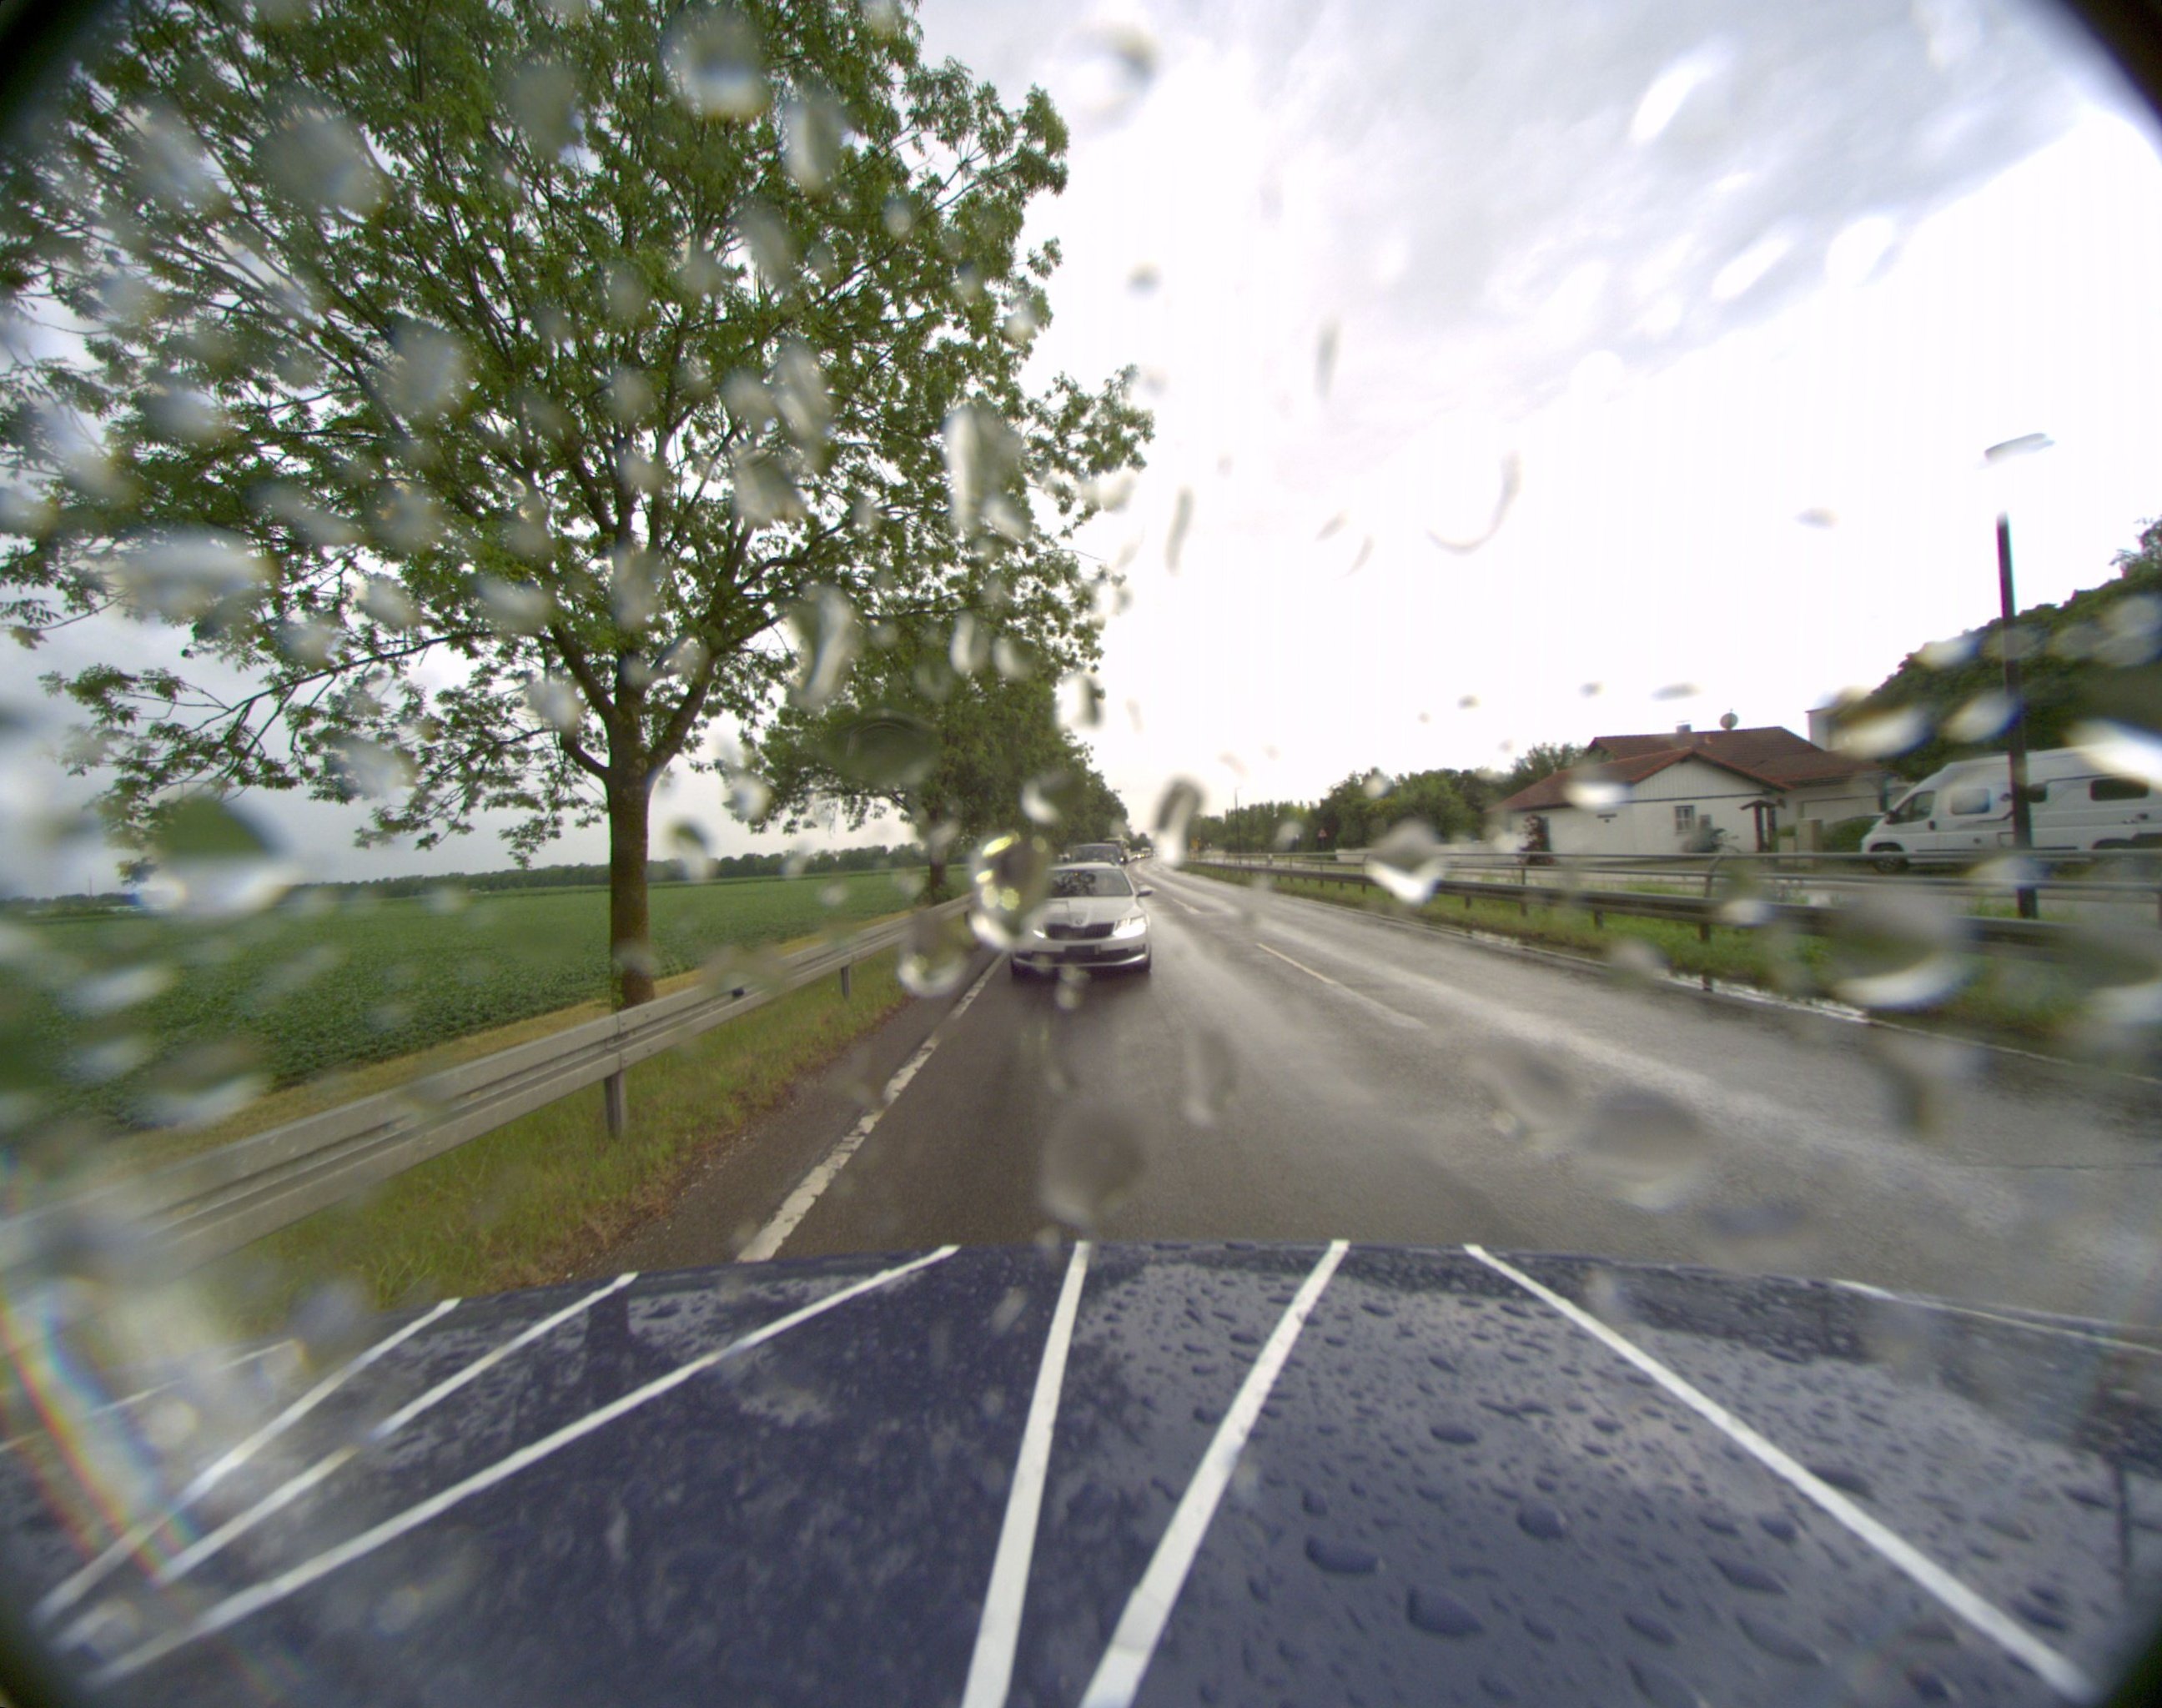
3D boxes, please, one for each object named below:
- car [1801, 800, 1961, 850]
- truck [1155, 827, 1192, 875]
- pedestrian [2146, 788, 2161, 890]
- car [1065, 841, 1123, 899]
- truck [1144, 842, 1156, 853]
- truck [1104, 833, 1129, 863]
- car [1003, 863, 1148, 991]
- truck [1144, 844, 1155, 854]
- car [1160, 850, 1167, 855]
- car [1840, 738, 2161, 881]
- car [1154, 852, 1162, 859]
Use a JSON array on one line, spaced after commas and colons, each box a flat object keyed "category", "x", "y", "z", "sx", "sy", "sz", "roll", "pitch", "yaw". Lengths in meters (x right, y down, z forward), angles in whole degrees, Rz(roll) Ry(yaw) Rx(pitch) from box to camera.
[{"category": "car", "x": 24.347, "y": -0.829, "z": 23.293, "sx": 1.452, "sy": 1.348, "sz": 3.270, "roll": -3, "pitch": 0, "yaw": 1}, {"category": "truck", "x": 10.415, "y": -0.388, "z": 86.491, "sx": 3.256, "sy": 5.004, "sz": 7.784, "roll": -4, "pitch": 0, "yaw": 2}, {"category": "pedestrian", "x": 18.303, "y": -0.267, "z": 12.524, "sx": 0.516, "sy": 1.701, "sz": 0.650, "roll": -3, "pitch": 1, "yaw": 9}, {"category": "car", "x": 0.435, "y": 0.534, "z": 27.136, "sx": 1.903, "sy": 1.884, "sz": 4.000, "roll": -1, "pitch": 0, "yaw": 0}, {"category": "truck", "x": 17.795, "y": -1.632, "z": 195.674, "sx": 2.800, "sy": 2.461, "sz": 7.169, "roll": -3, "pitch": 0, "yaw": 3}, {"category": "truck", "x": 4.515, "y": -0.748, "z": 97.707, "sx": 2.751, "sy": 3.547, "sz": 8.386, "roll": -3, "pitch": 0, "yaw": 1}, {"category": "car", "x": -0.062, "y": 0.894, "z": 11.079, "sx": 1.705, "sy": 1.438, "sz": 4.000, "roll": -1, "pitch": 0, "yaw": 0}, {"category": "truck", "x": 19.011, "y": -1.321, "z": 210.384, "sx": 2.800, "sy": 2.461, "sz": 7.169, "roll": -3, "pitch": 0, "yaw": 3}, {"category": "car", "x": 27.303, "y": -0.479, "z": 251.672, "sx": 1.811, "sy": 1.723, "sz": 4.027, "roll": -3, "pitch": 0, "yaw": 1}, {"category": "car", "x": 20.663, "y": -0.876, "z": 16.508, "sx": 2.243, "sy": 2.565, "sz": 6.019, "roll": -4, "pitch": 0, "yaw": 1}, {"category": "car", "x": 23.526, "y": 0.484, "z": 232.026, "sx": 1.998, "sy": 2.002, "sz": 4.100, "roll": -3, "pitch": 0, "yaw": 1}]
